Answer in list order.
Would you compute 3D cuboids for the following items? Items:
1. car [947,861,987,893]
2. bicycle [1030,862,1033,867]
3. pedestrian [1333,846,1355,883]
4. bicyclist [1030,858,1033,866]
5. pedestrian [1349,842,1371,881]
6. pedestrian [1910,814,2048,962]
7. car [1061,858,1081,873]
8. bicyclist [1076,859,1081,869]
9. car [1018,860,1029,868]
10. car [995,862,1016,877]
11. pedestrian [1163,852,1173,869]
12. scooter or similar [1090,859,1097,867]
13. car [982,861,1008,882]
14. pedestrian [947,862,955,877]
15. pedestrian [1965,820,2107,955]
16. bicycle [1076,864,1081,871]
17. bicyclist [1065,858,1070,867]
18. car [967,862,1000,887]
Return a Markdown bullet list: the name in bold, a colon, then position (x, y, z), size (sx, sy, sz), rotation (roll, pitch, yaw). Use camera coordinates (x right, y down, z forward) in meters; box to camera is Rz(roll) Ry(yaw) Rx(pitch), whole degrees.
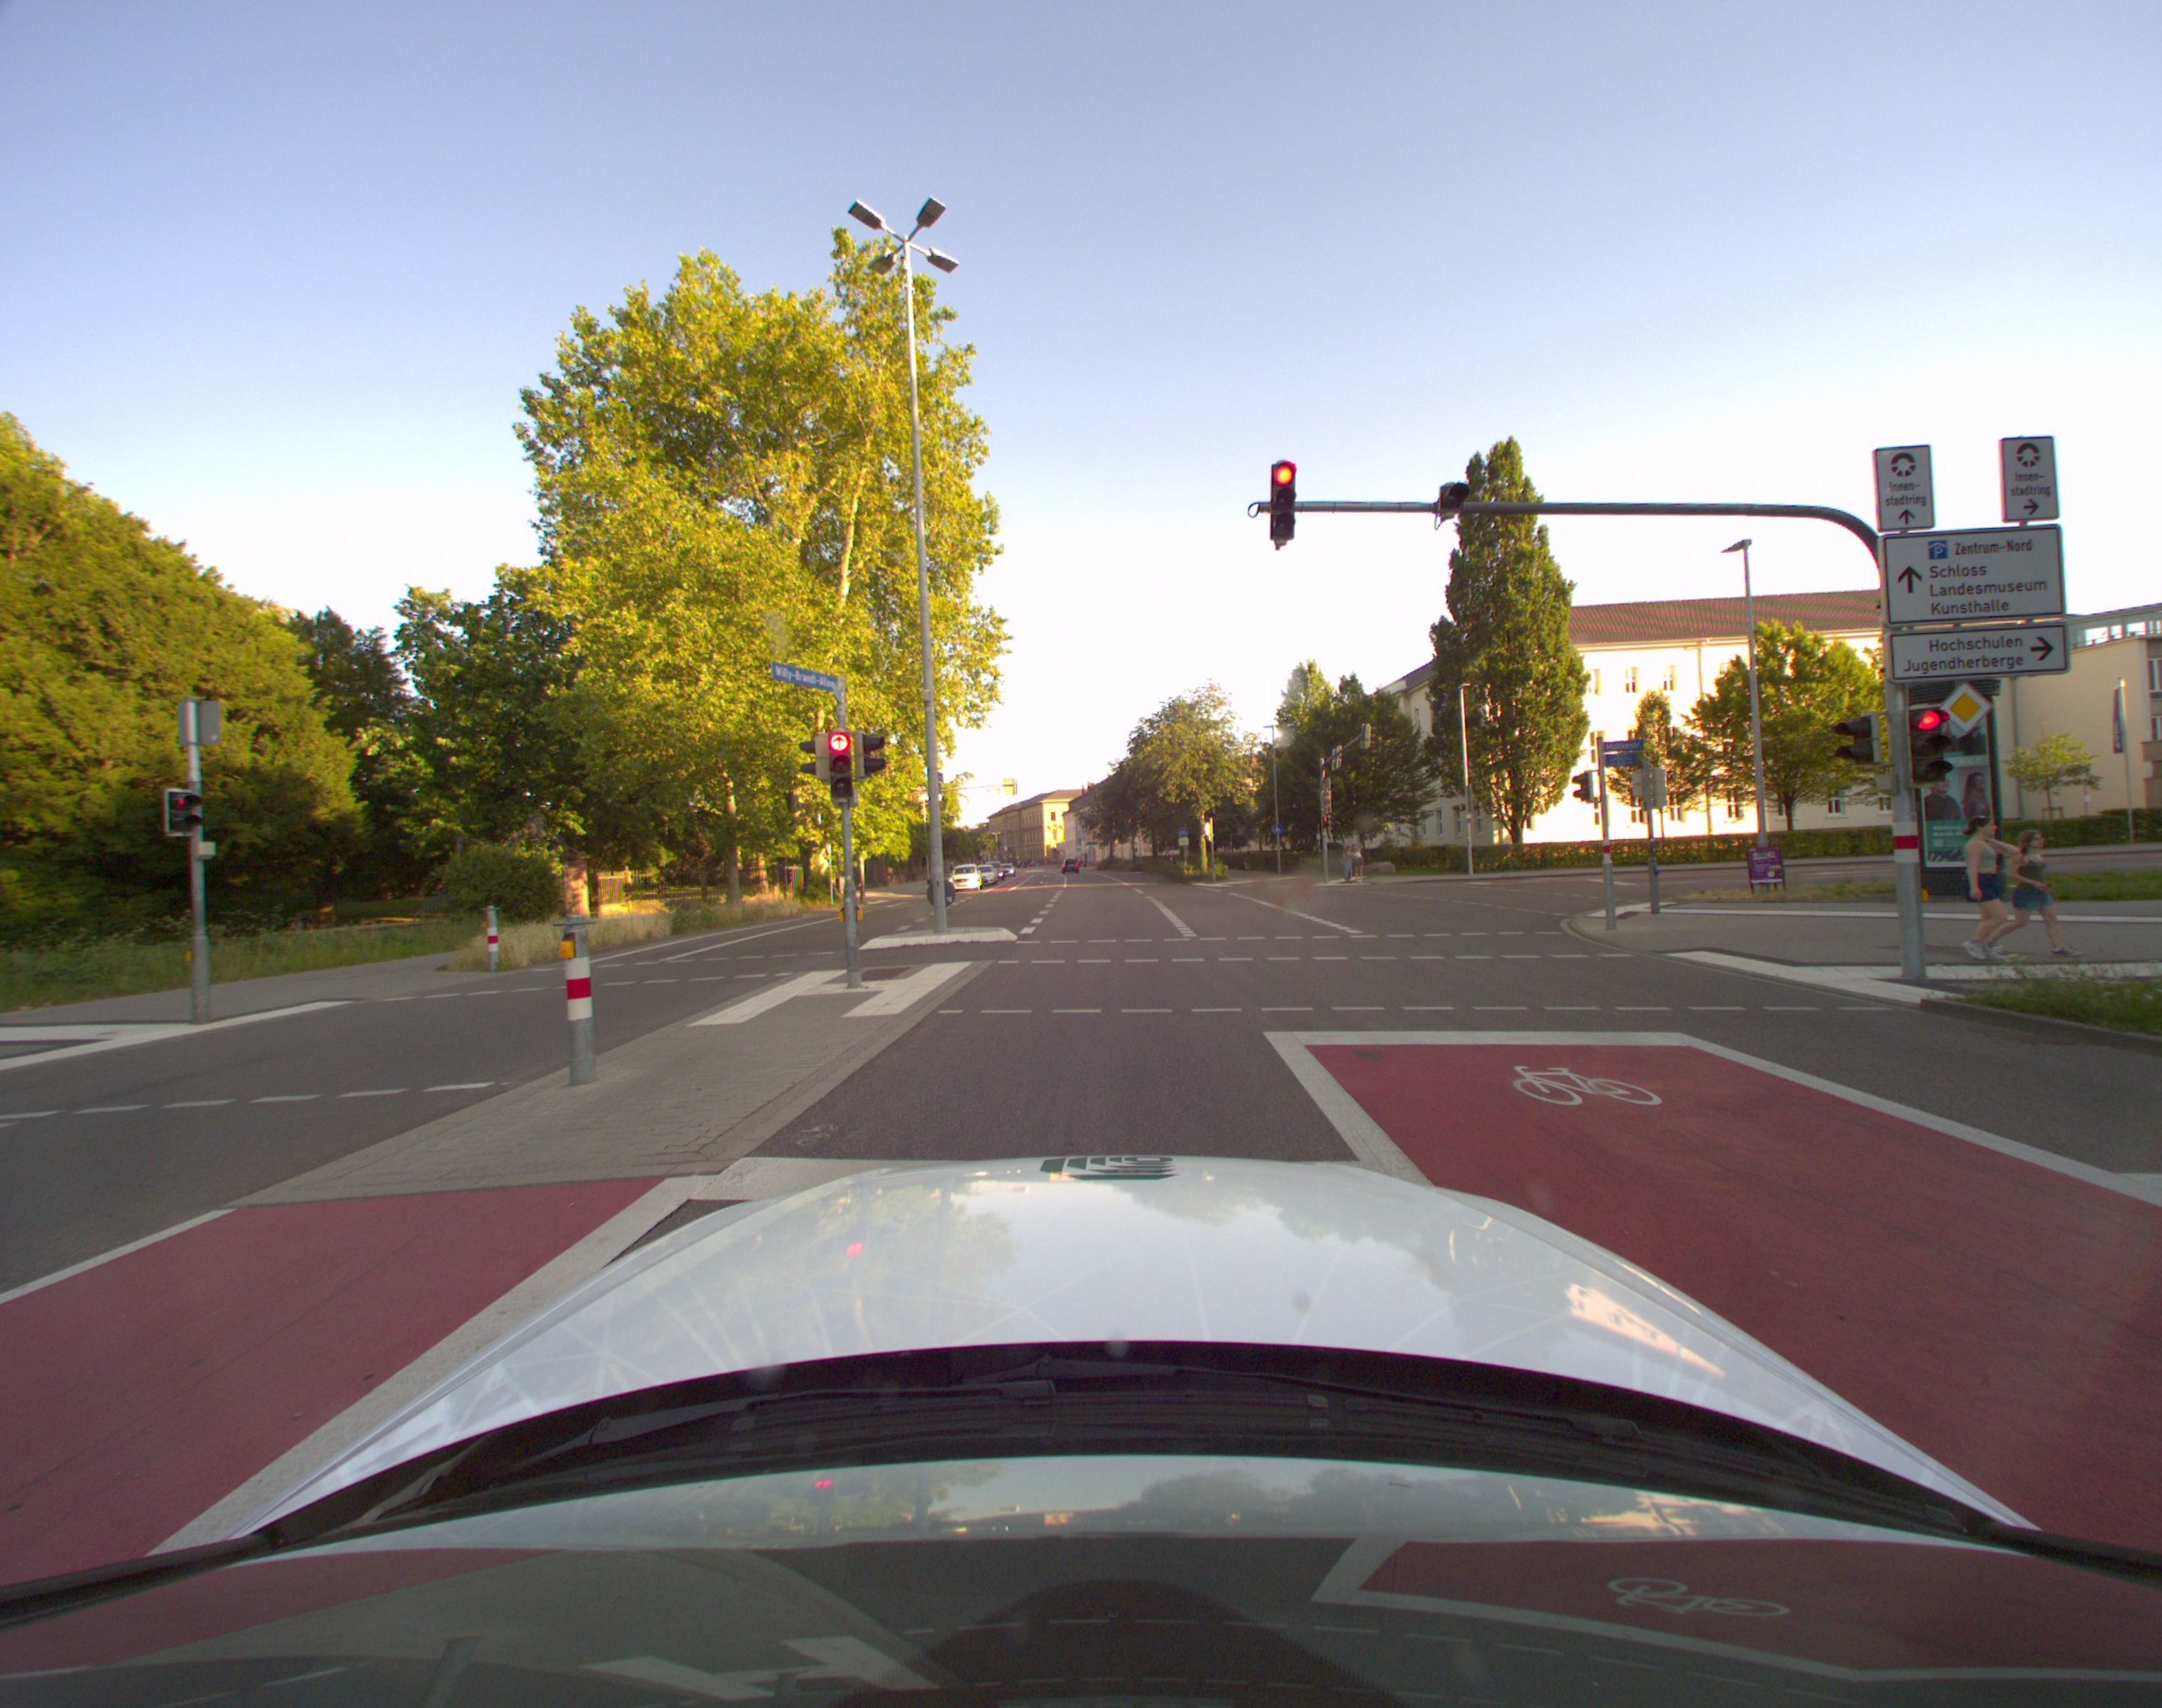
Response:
- **car**: position (-7.034, 1.392, 50.639), size (1.912, 1.695, 4.422), rotation (-5, 0, -2)
- **bicycle**: position (-11.091, 2.373, 182.840), size (0.651, 1.015, 2.193), rotation (0, -1, -6)
- **pedestrian**: position (11.864, 0.463, 36.710), size (0.678, 1.622, 0.845), rotation (-3, 0, 1)
- **bicyclist**: position (-11.096, 1.763, 182.834), size (0.651, 1.698, 0.955), rotation (0, -1, -6)
- **pedestrian**: position (12.568, 0.332, 36.724), size (0.678, 1.754, 0.689), rotation (-3, 0, 1)
- **pedestrian**: position (10.684, 0.391, 9.720), size (0.717, 1.660, 0.775), rotation (-3, 0, -4)
- **car**: position (-1.022, 1.200, 85.063), size (1.860, 1.510, 4.001), rotation (0, -1, 2)
- **bicyclist**: position (-0.417, 1.525, 121.450), size (0.650, 1.475, 0.940), rotation (0, -1, -3)
- **car**: position (-12.329, 2.179, 175.082), size (1.915, 1.417, 4.756), rotation (-5, 0, -8)
- **car**: position (-8.195, 1.632, 89.067), size (1.912, 1.417, 4.766), rotation (-5, 0, -2)
- **pedestrian**: position (9.315, 0.681, 87.257), size (0.769, 1.739, 0.805), rotation (-3, 0, -8)
- **scooter or similar**: position (2.258, 1.653, 145.506), size (0.630, 1.337, 2.390), rotation (-2, -1, -12)
- **car**: position (-7.565, 1.503, 72.089), size (1.912, 1.624, 4.635), rotation (-5, 0, -2)
- **pedestrian**: position (-14.556, 1.682, 90.875), size (0.678, 1.622, 0.689), rotation (-3, 0, 1)
- **pedestrian**: position (11.504, 0.390, 9.839), size (0.733, 1.523, 0.788), rotation (-3, 0, -4)
- **bicycle**: position (-0.408, 1.975, 121.324), size (0.650, 1.015, 2.195), rotation (0, -1, -2)
- **bicyclist**: position (-2.045, 1.291, 122.146), size (0.650, 1.446, 0.878), rotation (0, -1, -3)
- **car**: position (-7.152, 1.467, 59.891), size (1.912, 1.583, 4.670), rotation (-5, 0, -2)
